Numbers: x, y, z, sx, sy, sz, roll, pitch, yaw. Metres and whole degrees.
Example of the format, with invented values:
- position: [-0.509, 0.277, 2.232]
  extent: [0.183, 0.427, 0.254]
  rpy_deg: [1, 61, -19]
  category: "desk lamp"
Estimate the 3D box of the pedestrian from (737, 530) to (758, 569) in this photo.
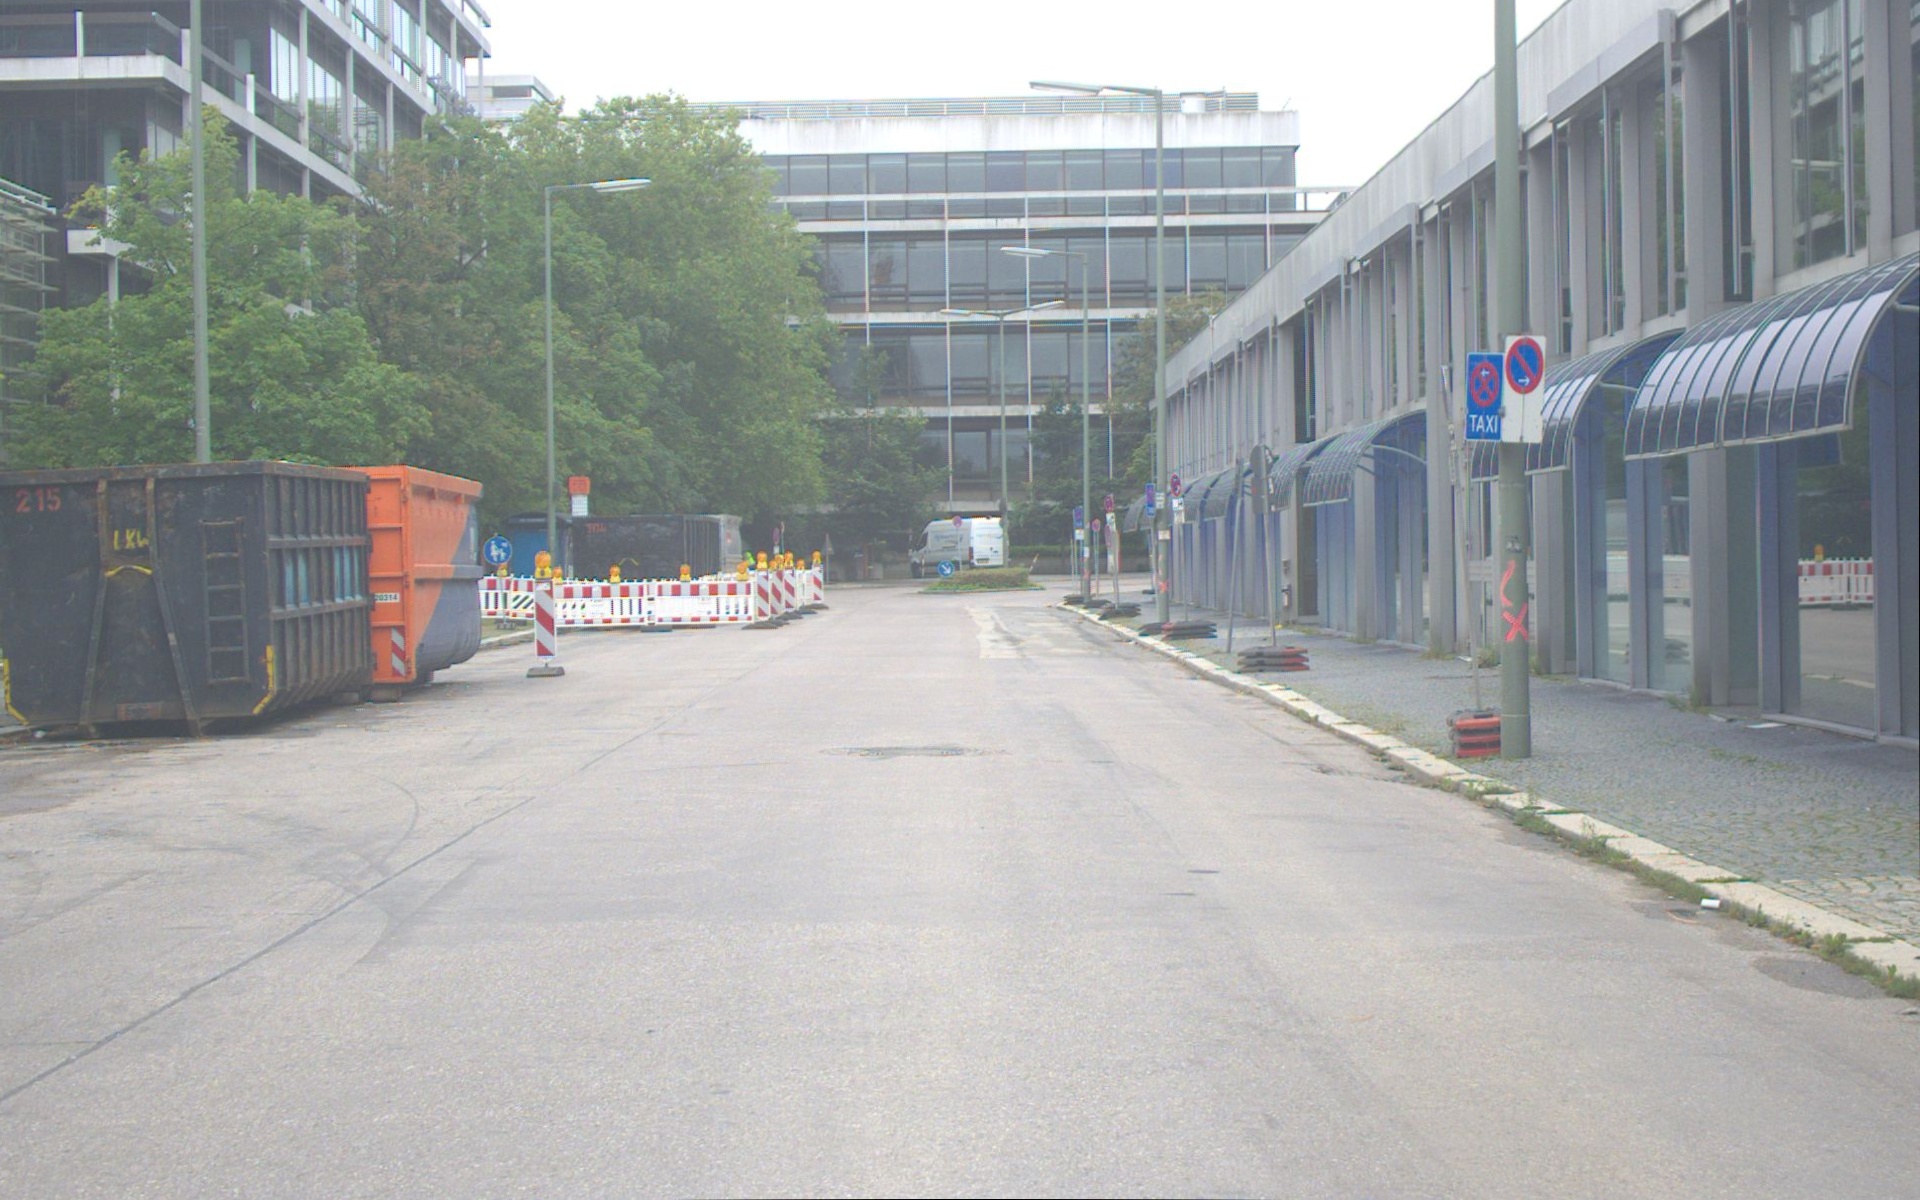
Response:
- position: [-9.284, -2.204, 150.417]
  extent: [0.741, 1.671, 0.682]
  rpy_deg: [-1, 1, -19]
  category: "pedestrian"

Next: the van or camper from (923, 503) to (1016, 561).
- position: [0.398, -2.977, 151.734]
  extent: [2.085, 2.483, 5.068]
  rpy_deg: [-2, 1, -25]
  category: "van or camper"
